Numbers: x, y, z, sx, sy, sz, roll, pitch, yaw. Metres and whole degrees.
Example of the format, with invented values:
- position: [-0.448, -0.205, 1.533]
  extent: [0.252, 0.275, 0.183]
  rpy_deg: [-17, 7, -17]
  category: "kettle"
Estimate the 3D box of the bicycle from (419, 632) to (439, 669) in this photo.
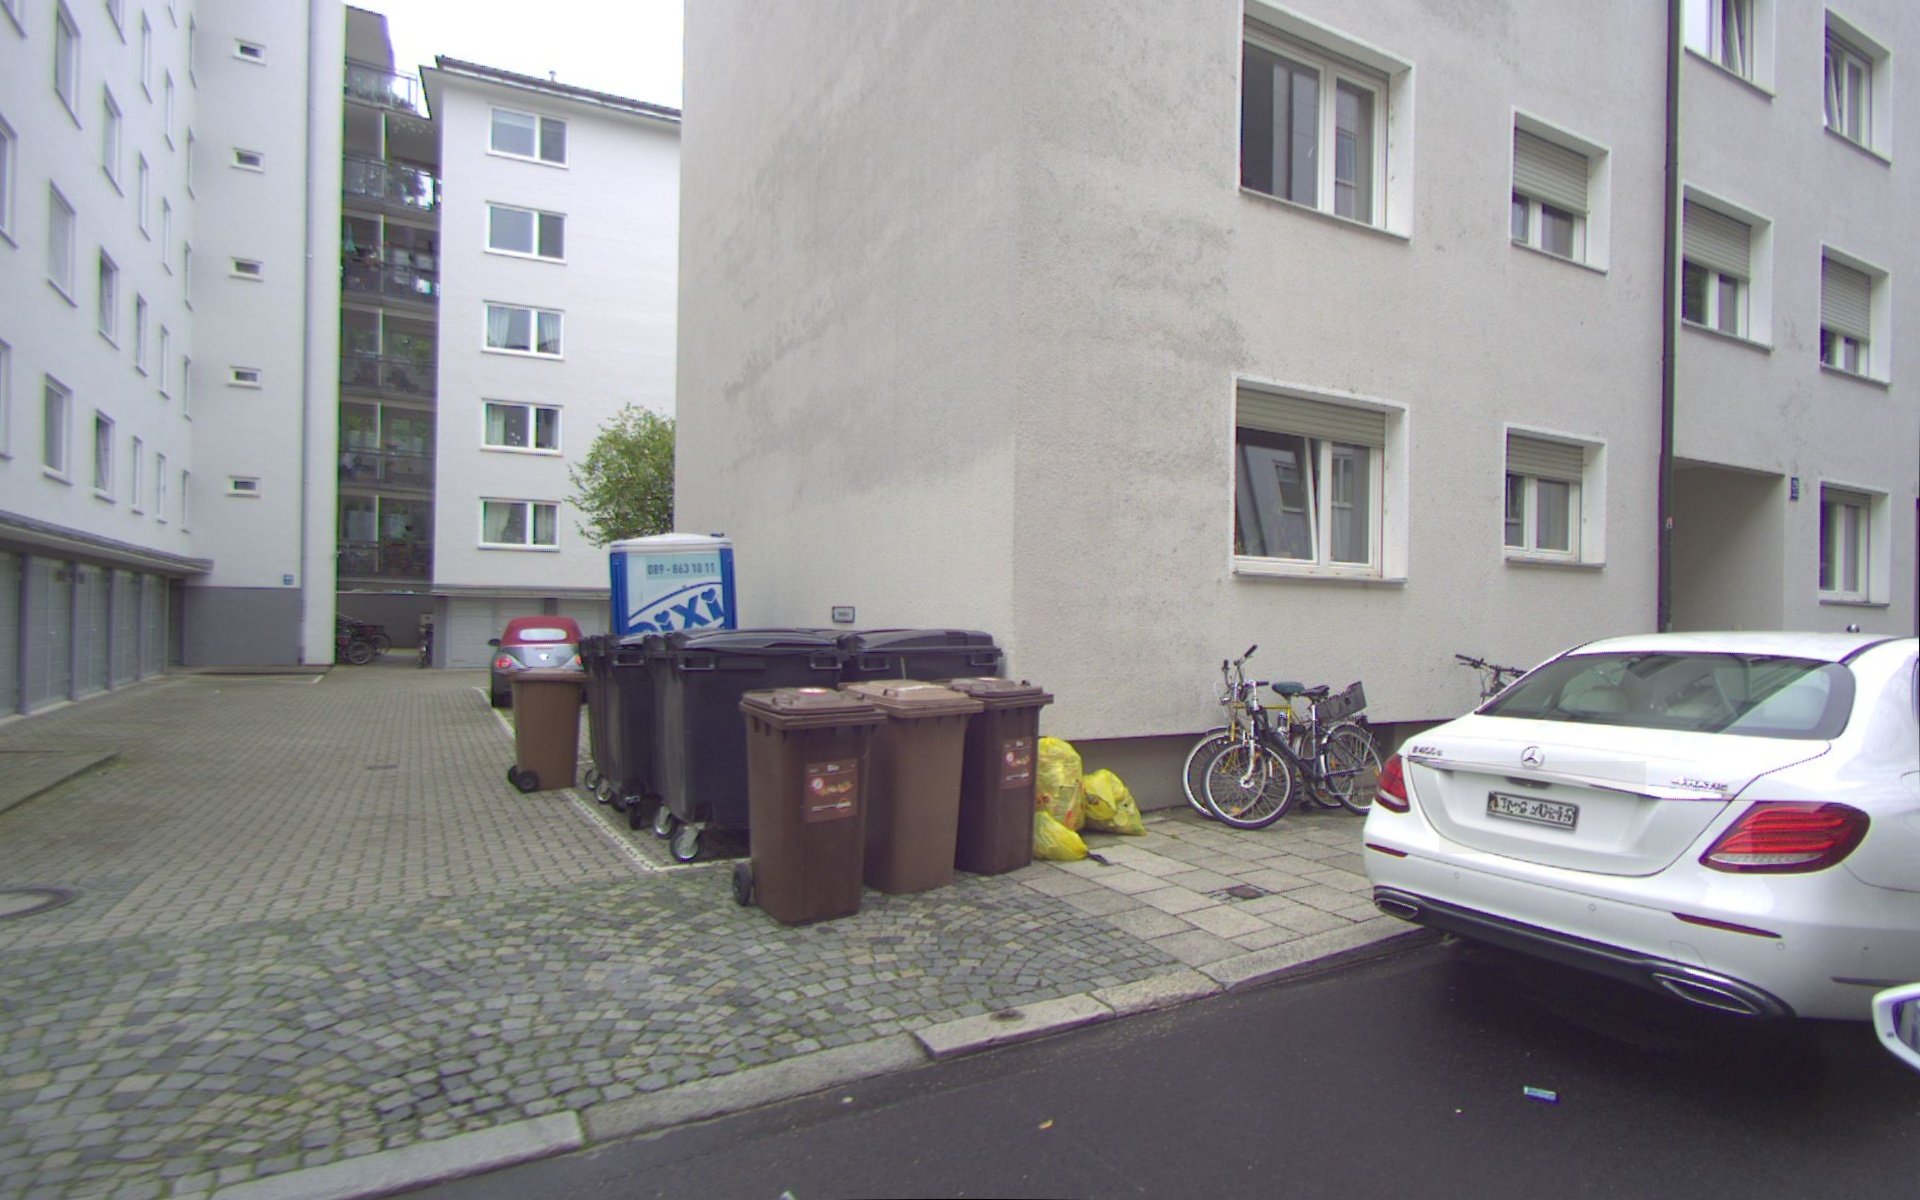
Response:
- position: [-15.457, 1.447, 29.224]
  extent: [0.484, 0.994, 2.030]
  rpy_deg: [1, -1, -28]
  category: "bicycle"

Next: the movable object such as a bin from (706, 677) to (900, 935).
- position: [-0.792, 0.959, 4.995]
  extent: [0.671, 1.090, 0.763]
  rpy_deg: [2, -1, -35]
  category: "movable object such as a bin"

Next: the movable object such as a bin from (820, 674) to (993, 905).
- position: [-0.303, 0.978, 5.483]
  extent: [0.629, 1.090, 0.763]
  rpy_deg: [2, -1, -35]
  category: "movable object such as a bin"

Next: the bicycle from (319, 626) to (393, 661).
- position: [-19.086, 1.370, 31.778]
  extent: [1.969, 1.074, 0.601]
  rpy_deg: [1, -1, -31]
  category: "bicycle"

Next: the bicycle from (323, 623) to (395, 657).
- position: [-19.510, 1.312, 32.660]
  extent: [1.969, 1.074, 0.601]
  rpy_deg: [1, -1, -31]
  category: "bicycle"

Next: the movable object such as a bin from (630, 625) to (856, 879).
- position: [-1.372, 0.859, 6.248]
  extent: [1.090, 1.371, 1.106]
  rpy_deg: [1, -1, -29]
  category: "movable object such as a bin"

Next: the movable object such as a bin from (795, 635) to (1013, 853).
- position: [-0.401, 0.891, 6.770]
  extent: [1.084, 1.280, 1.116]
  rpy_deg: [1, -1, -29]
  category: "movable object such as a bin"

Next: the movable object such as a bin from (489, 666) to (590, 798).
- position: [-3.798, 1.158, 9.059]
  extent: [0.761, 1.090, 0.673]
  rpy_deg: [1, -1, -29]
  category: "movable object such as a bin"

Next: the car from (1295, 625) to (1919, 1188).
- position: [3.955, 0.888, 4.704]
  extent: [4.753, 1.456, 1.903]
  rpy_deg: [2, -1, -31]
  category: "car"

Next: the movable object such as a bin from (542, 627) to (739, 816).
- position: [-2.711, 0.946, 8.453]
  extent: [1.332, 1.393, 1.329]
  rpy_deg: [2, -1, -29]
  category: "movable object such as a bin"

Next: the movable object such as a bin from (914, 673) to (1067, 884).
- position: [0.171, 1.002, 5.905]
  extent: [0.598, 1.090, 0.686]
  rpy_deg: [2, -1, -35]
  category: "movable object such as a bin"

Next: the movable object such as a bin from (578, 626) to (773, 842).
- position: [-2.086, 0.897, 7.302]
  extent: [1.139, 1.393, 1.085]
  rpy_deg: [1, -1, -29]
  category: "movable object such as a bin"

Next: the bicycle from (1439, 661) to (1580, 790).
- position: [4.764, 1.051, 8.690]
  extent: [1.424, 1.030, 0.377]
  rpy_deg: [1, -2, -30]
  category: "bicycle"

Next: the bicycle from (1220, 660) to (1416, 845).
- position: [2.552, 1.015, 7.070]
  extent: [1.667, 1.154, 0.401]
  rpy_deg: [2, -1, -35]
  category: "bicycle"

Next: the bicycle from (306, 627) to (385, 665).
- position: [-18.147, 1.349, 29.708]
  extent: [1.969, 1.074, 0.601]
  rpy_deg: [1, -1, -31]
  category: "bicycle"

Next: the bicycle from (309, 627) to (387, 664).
- position: [-18.441, 1.379, 30.311]
  extent: [1.969, 1.074, 0.601]
  rpy_deg: [1, -1, -31]
  category: "bicycle"

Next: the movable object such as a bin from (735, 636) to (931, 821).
- position: [-1.009, 0.936, 7.860]
  extent: [1.186, 1.280, 1.116]
  rpy_deg: [2, -1, -29]
  category: "movable object such as a bin"

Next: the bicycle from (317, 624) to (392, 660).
- position: [-18.708, 1.307, 31.074]
  extent: [1.969, 1.074, 0.601]
  rpy_deg: [1, -1, -31]
  category: "bicycle"

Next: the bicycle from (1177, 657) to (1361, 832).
- position: [2.307, 1.009, 7.400]
  extent: [1.667, 1.154, 0.339]
  rpy_deg: [2, -1, -35]
  category: "bicycle"

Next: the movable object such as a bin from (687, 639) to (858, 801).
- position: [-1.675, 0.999, 8.872]
  extent: [1.186, 1.280, 1.116]
  rpy_deg: [2, -1, -29]
  category: "movable object such as a bin"

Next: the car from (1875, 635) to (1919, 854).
- position: [8.454, 1.007, 7.189]
  extent: [4.180, 1.435, 1.791]
  rpy_deg: [2, -1, -32]
  category: "car"

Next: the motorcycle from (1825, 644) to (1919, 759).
- position: [10.679, 1.126, 11.623]
  extent: [1.840, 1.219, 0.595]
  rpy_deg: [2, -1, -35]
  category: "motorcycle"

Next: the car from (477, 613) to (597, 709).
- position: [-7.865, 1.024, 18.486]
  extent: [1.780, 1.506, 3.973]
  rpy_deg: [1, 0, -26]
  category: "car"

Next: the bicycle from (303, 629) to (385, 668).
- position: [-17.777, 1.390, 29.036]
  extent: [1.969, 1.074, 0.601]
  rpy_deg: [1, -1, -31]
  category: "bicycle"

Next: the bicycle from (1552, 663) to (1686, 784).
- position: [6.165, 1.119, 9.375]
  extent: [1.556, 1.030, 0.396]
  rpy_deg: [1, -2, -31]
  category: "bicycle"
